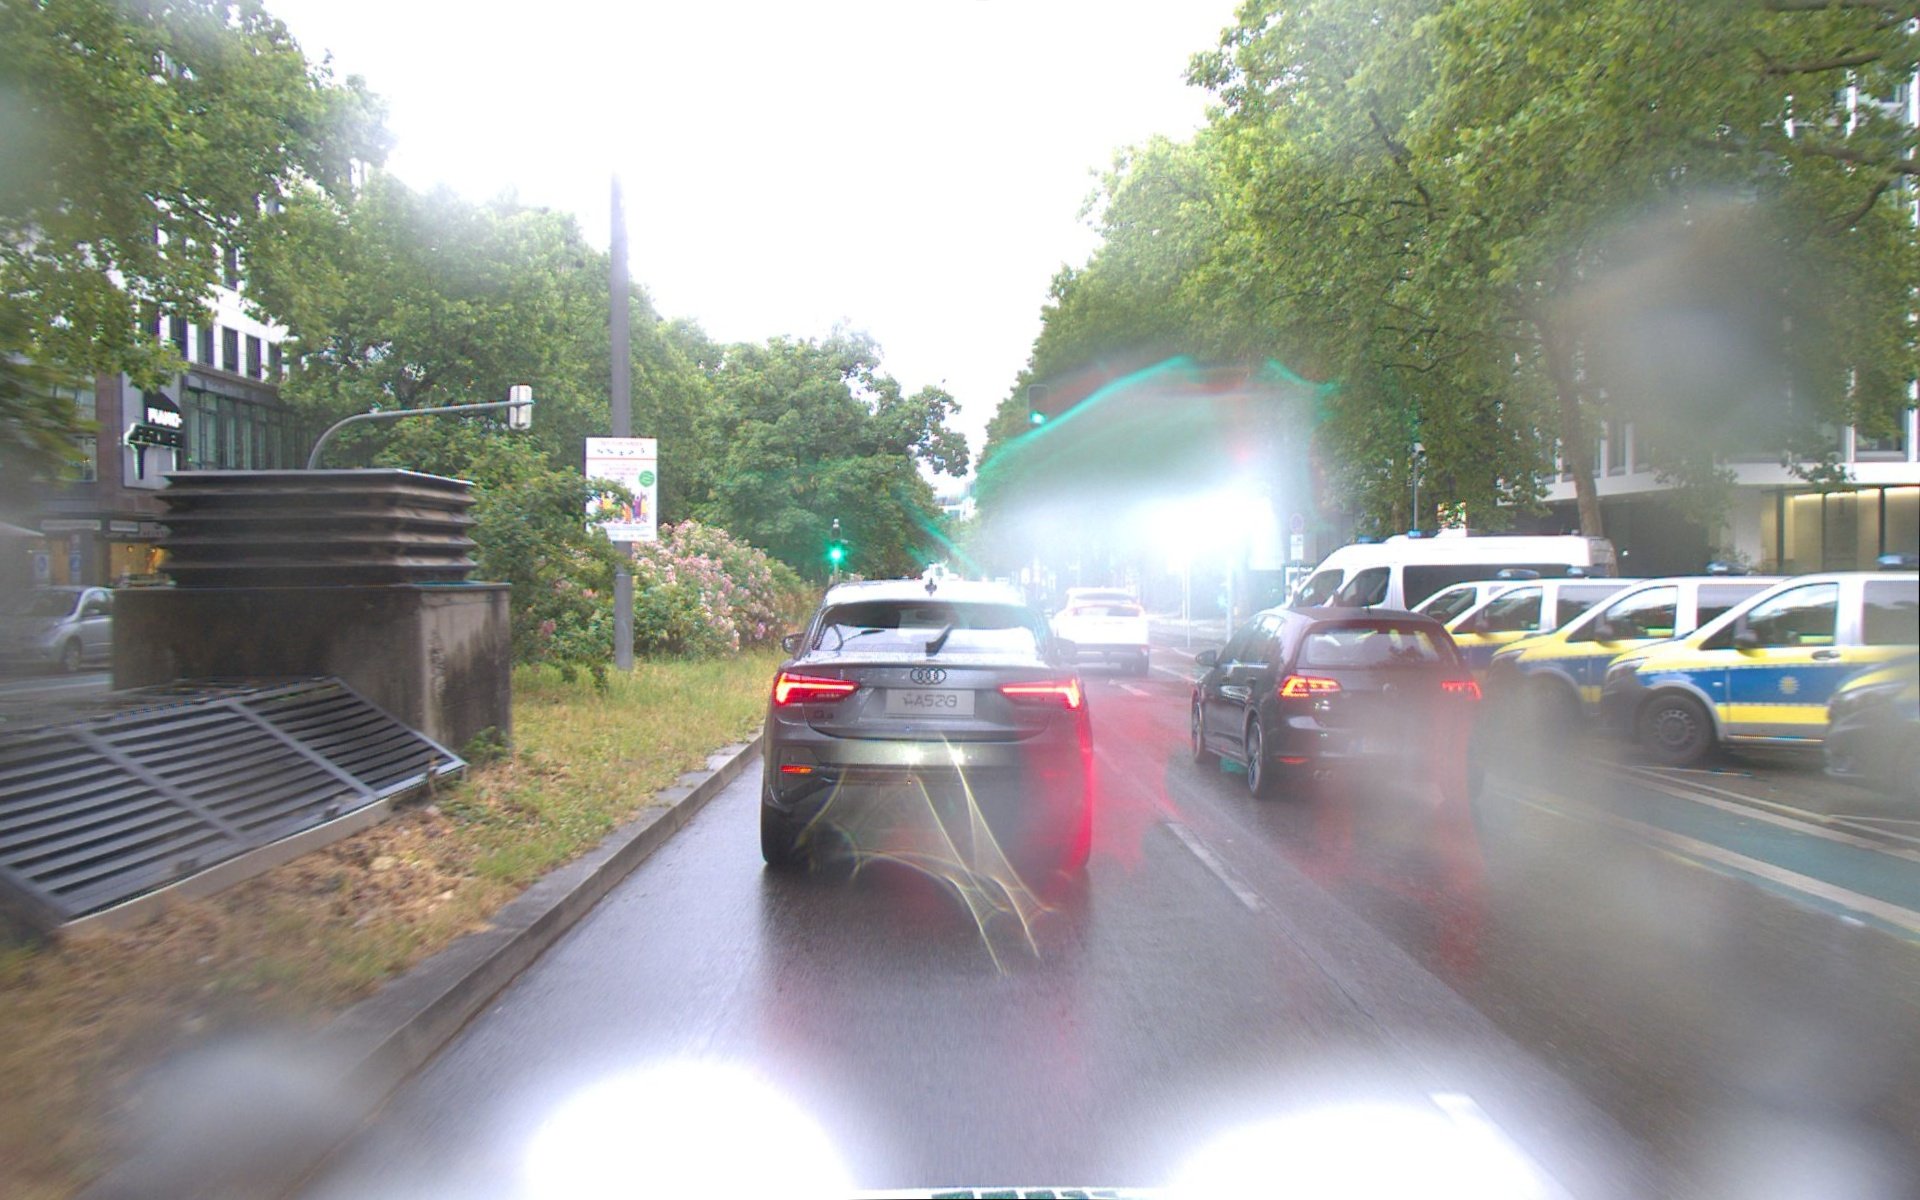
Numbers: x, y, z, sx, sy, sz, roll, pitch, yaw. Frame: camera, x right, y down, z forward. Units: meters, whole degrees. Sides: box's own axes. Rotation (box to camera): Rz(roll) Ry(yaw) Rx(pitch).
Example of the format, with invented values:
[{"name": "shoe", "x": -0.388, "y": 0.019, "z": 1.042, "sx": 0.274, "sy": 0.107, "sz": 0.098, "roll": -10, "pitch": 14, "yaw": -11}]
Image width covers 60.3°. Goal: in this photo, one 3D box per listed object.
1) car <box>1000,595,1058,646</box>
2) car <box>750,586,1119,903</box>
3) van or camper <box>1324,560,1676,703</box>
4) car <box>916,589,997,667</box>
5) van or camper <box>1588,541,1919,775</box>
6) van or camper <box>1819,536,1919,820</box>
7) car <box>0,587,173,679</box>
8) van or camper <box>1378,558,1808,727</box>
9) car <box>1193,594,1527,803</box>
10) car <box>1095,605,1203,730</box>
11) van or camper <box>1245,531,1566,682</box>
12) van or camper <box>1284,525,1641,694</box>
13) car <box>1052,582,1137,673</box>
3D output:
[{"name": "car", "x": 2.530, "y": 0.730, "z": 61.162, "sx": 1.953, "sy": 1.780, "sz": 4.000, "roll": 0, "pitch": 0, "yaw": 0}, {"name": "car", "x": -0.102, "y": 0.698, "z": 10.461, "sx": 1.825, "sy": 1.559, "sz": 4.527, "roll": 0, "pitch": 1, "yaw": 1}, {"name": "van or camper", "x": 8.430, "y": 0.478, "z": 26.017, "sx": 4.915, "sy": 2.049, "sz": 1.993, "roll": 0, "pitch": -1, "yaw": 35}, {"name": "car", "x": -0.103, "y": 0.573, "z": 36.646, "sx": 1.686, "sy": 1.605, "sz": 3.961, "roll": 0, "pitch": 0, "yaw": -1}, {"name": "van or camper", "x": 8.802, "y": 0.505, "z": 15.635, "sx": 5.008, "sy": 2.060, "sz": 2.097, "roll": 0, "pitch": 0, "yaw": 37}, {"name": "van or camper", "x": 8.927, "y": 0.560, "z": 11.721, "sx": 4.917, "sy": 2.030, "sz": 1.995, "roll": 0, "pitch": 0, "yaw": 32}, {"name": "car", "x": -16.201, "y": 0.536, "z": 29.870, "sx": 1.954, "sy": 1.535, "sz": 4.516, "roll": -1, "pitch": 1, "yaw": -3}, {"name": "van or camper", "x": 8.460, "y": 0.493, "z": 22.324, "sx": 5.102, "sy": 2.027, "sz": 1.994, "roll": 1, "pitch": 0, "yaw": 34}, {"name": "car", "x": 3.115, "y": 0.688, "z": 13.691, "sx": 1.729, "sy": 1.437, "sz": 3.999, "roll": -1, "pitch": 1, "yaw": -1}, {"name": "car", "x": 2.314, "y": 0.796, "z": 20.619, "sx": 1.029, "sy": 1.412, "sz": 2.694, "roll": -1, "pitch": 0, "yaw": 0}, {"name": "van or camper", "x": 8.608, "y": 0.095, "z": 32.271, "sx": 5.702, "sy": 2.724, "sz": 2.138, "roll": 0, "pitch": 0, "yaw": 37}, {"name": "van or camper", "x": 8.726, "y": 0.143, "z": 29.013, "sx": 5.693, "sy": 2.727, "sz": 1.993, "roll": 0, "pitch": 0, "yaw": 35}, {"name": "car", "x": 2.606, "y": 0.503, "z": 32.589, "sx": 1.404, "sy": 1.714, "sz": 2.979, "roll": -1, "pitch": 0, "yaw": 0}]
